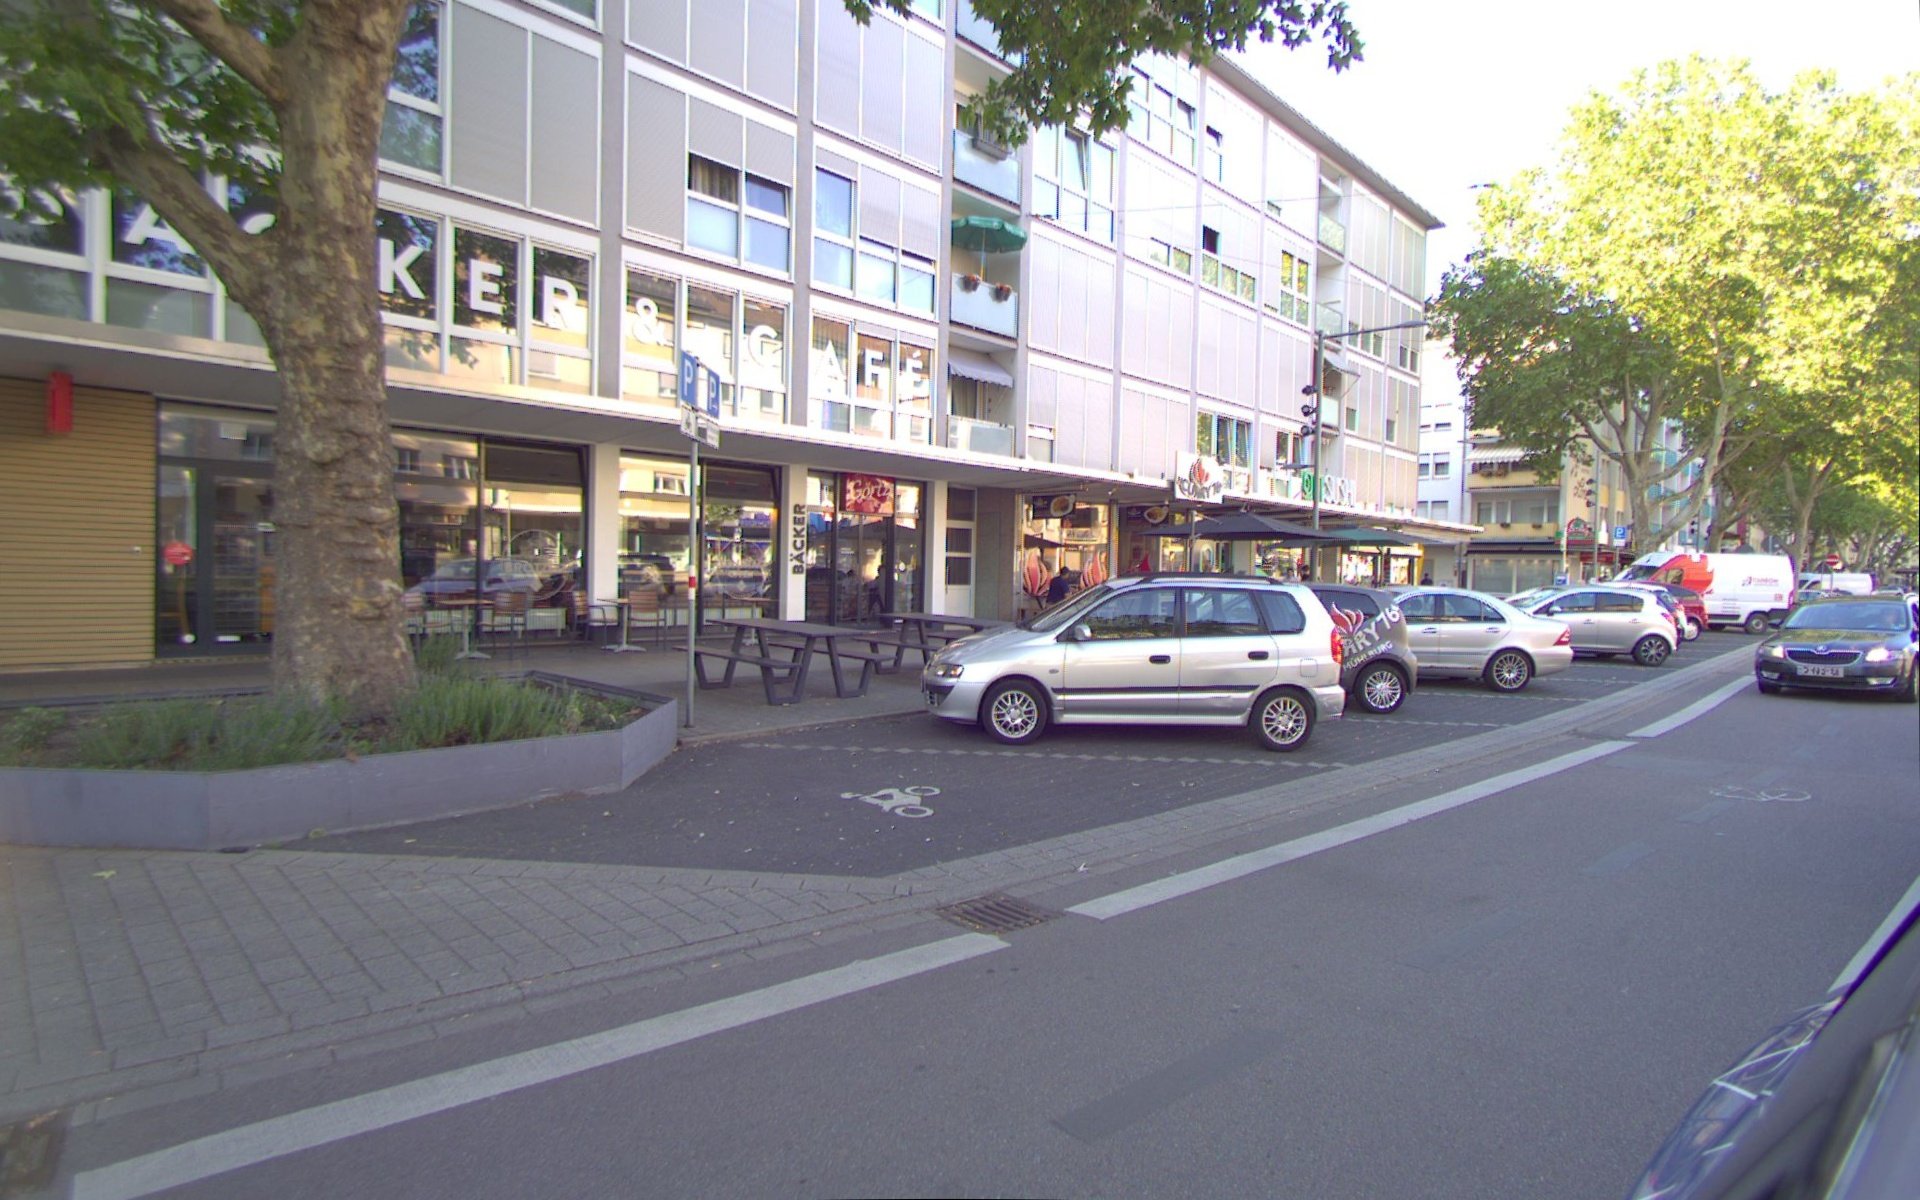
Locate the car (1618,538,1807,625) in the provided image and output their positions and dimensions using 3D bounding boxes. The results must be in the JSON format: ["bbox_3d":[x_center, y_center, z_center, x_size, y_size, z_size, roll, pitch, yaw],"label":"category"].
[{"bbox_3d":[23.737,-0.589,32.051,4.514,2.525,1.675,2,0,5],"label":"car"}]

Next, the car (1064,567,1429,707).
[{"bbox_3d":[3.351,0.400,12.331,3.864,1.446,1.679,2,3,-3],"label":"car"}]

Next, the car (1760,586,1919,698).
[{"bbox_3d":[13.574,0.528,15.192,4.155,1.470,1.727,-1,0,-41],"label":"car"}]

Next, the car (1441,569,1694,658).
[{"bbox_3d":[11.781,0.228,19.832,3.871,1.446,1.559,3,3,4],"label":"car"}]

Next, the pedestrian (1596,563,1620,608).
[{"bbox_3d":[30.164,-0.684,47.132,0.746,2.038,0.752,2,2,45],"label":"pedestrian"}]

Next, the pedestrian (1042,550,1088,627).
[{"bbox_3d":[2.227,-0.253,21.426,0.757,1.602,0.583,0,2,-39],"label":"pedestrian"}]

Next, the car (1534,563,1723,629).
[{"bbox_3d":[18.098,-0.152,27.601,3.892,1.445,1.667,4,5,20],"label":"car"}]

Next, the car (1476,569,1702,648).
[{"bbox_3d":[13.940,0.149,22.676,3.886,1.446,1.670,3,3,16],"label":"car"}]

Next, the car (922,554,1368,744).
[{"bbox_3d":[1.623,0.410,9.832,3.906,1.560,1.679,2,3,-3],"label":"car"}]

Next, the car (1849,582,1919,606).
[{"bbox_3d":[56.682,-0.378,61.364,3.864,1.350,1.782,1,2,3],"label":"car"}]

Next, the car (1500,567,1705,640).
[{"bbox_3d":[15.871,0.037,25.232,3.888,1.445,1.669,4,5,17],"label":"car"}]

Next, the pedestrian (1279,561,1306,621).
[{"bbox_3d":[9.338,-0.254,28.431,0.536,1.660,0.470,2,2,45],"label":"pedestrian"}]

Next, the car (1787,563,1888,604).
[{"bbox_3d":[56.448,-1.088,65.160,4.512,2.499,1.977,1,2,3],"label":"car"}]

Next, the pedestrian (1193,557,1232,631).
[{"bbox_3d":[5.550,-0.145,22.266,0.559,1.596,0.632,2,2,44],"label":"pedestrian"}]

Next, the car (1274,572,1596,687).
[{"bbox_3d":[6.811,0.384,14.792,3.867,1.418,1.598,2,3,1],"label":"car"}]

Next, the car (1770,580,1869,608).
[{"bbox_3d":[48.082,-0.362,56.643,3.864,1.422,1.782,1,2,3],"label":"car"}]

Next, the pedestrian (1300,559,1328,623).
[{"bbox_3d":[9.780,-0.259,27.958,0.544,1.741,0.450,2,2,45],"label":"pedestrian"}]

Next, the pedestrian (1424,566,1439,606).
[{"bbox_3d":[20.814,-0.636,44.676,0.473,1.751,0.347,1,1,11],"label":"pedestrian"}]
